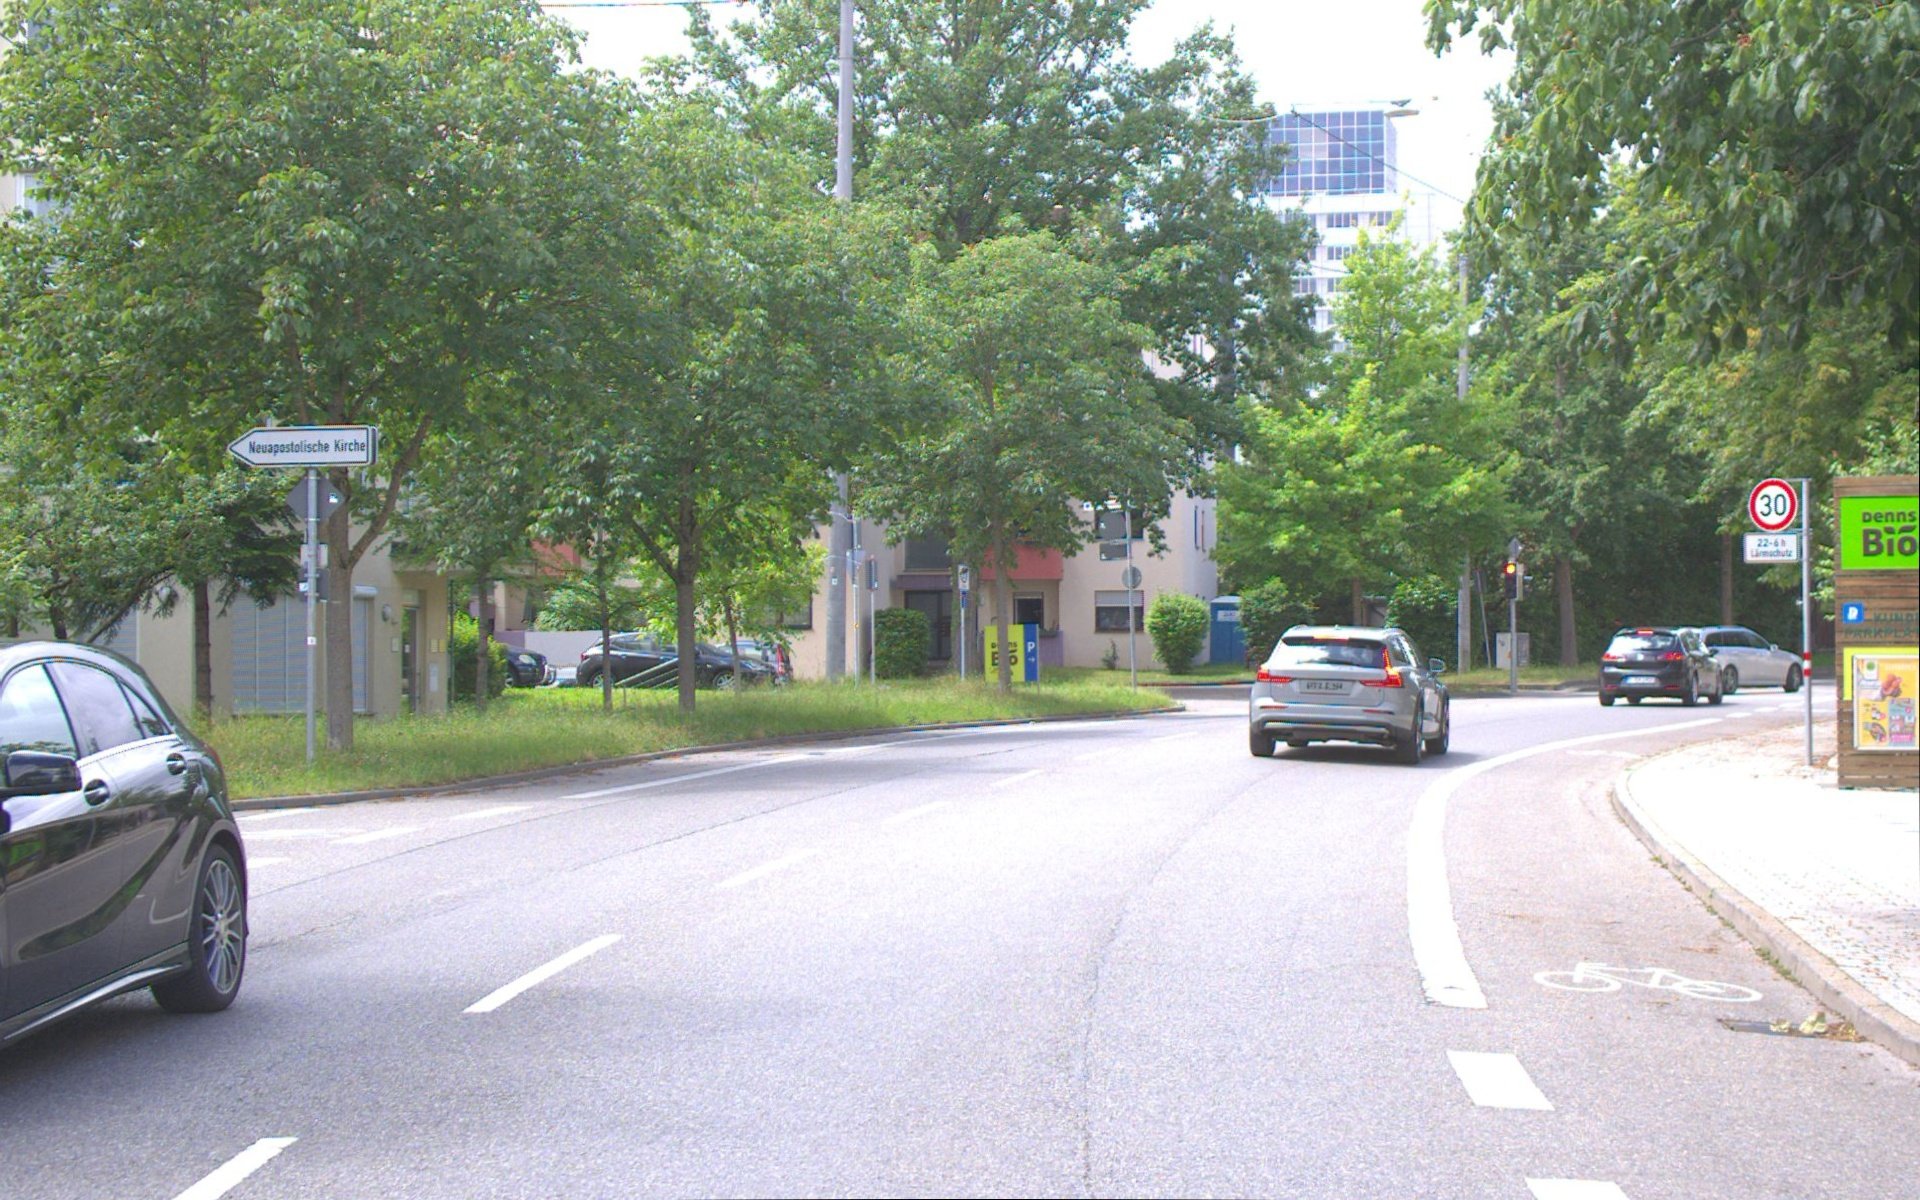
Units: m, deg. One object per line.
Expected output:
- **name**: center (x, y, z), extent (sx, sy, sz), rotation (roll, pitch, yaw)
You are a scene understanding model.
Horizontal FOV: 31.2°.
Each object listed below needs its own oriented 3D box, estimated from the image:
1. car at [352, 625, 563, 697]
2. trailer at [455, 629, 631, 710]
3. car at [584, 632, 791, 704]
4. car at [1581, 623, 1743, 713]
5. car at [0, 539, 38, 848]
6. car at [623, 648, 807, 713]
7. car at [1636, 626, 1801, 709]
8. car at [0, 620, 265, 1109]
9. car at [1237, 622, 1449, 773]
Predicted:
- **car**: center (-10.928, 1.329, 74.912), extent (4.177, 1.518, 1.900), rotation (-1, -1, 9)
- **trailer**: center (-10.108, 1.688, 83.517), extent (3.907, 1.793, 1.630), rotation (1, -4, 7)
- **car**: center (-5.832, 1.464, 73.746), extent (4.079, 1.395, 1.794), rotation (1, -4, 9)
- **car**: center (13.029, 1.247, 63.652), extent (1.807, 1.518, 4.322), rotation (3, 1, 27)
- **car**: center (-8.835, 0.687, 22.009), extent (5.214, 1.987, 2.107), rotation (-2, 0, 10)
- **car**: center (-5.873, 1.941, 82.761), extent (4.079, 1.395, 1.794), rotation (1, -4, 9)
- **car**: center (16.726, 1.498, 75.648), extent (1.808, 1.611, 4.319), rotation (3, -1, 38)
- **car**: center (-3.719, 0.856, 11.348), extent (1.687, 1.477, 4.226), rotation (-3, -1, 4)
- **car**: center (4.415, 1.059, 39.094), extent (1.957, 1.518, 4.327), rotation (2, 0, 12)
